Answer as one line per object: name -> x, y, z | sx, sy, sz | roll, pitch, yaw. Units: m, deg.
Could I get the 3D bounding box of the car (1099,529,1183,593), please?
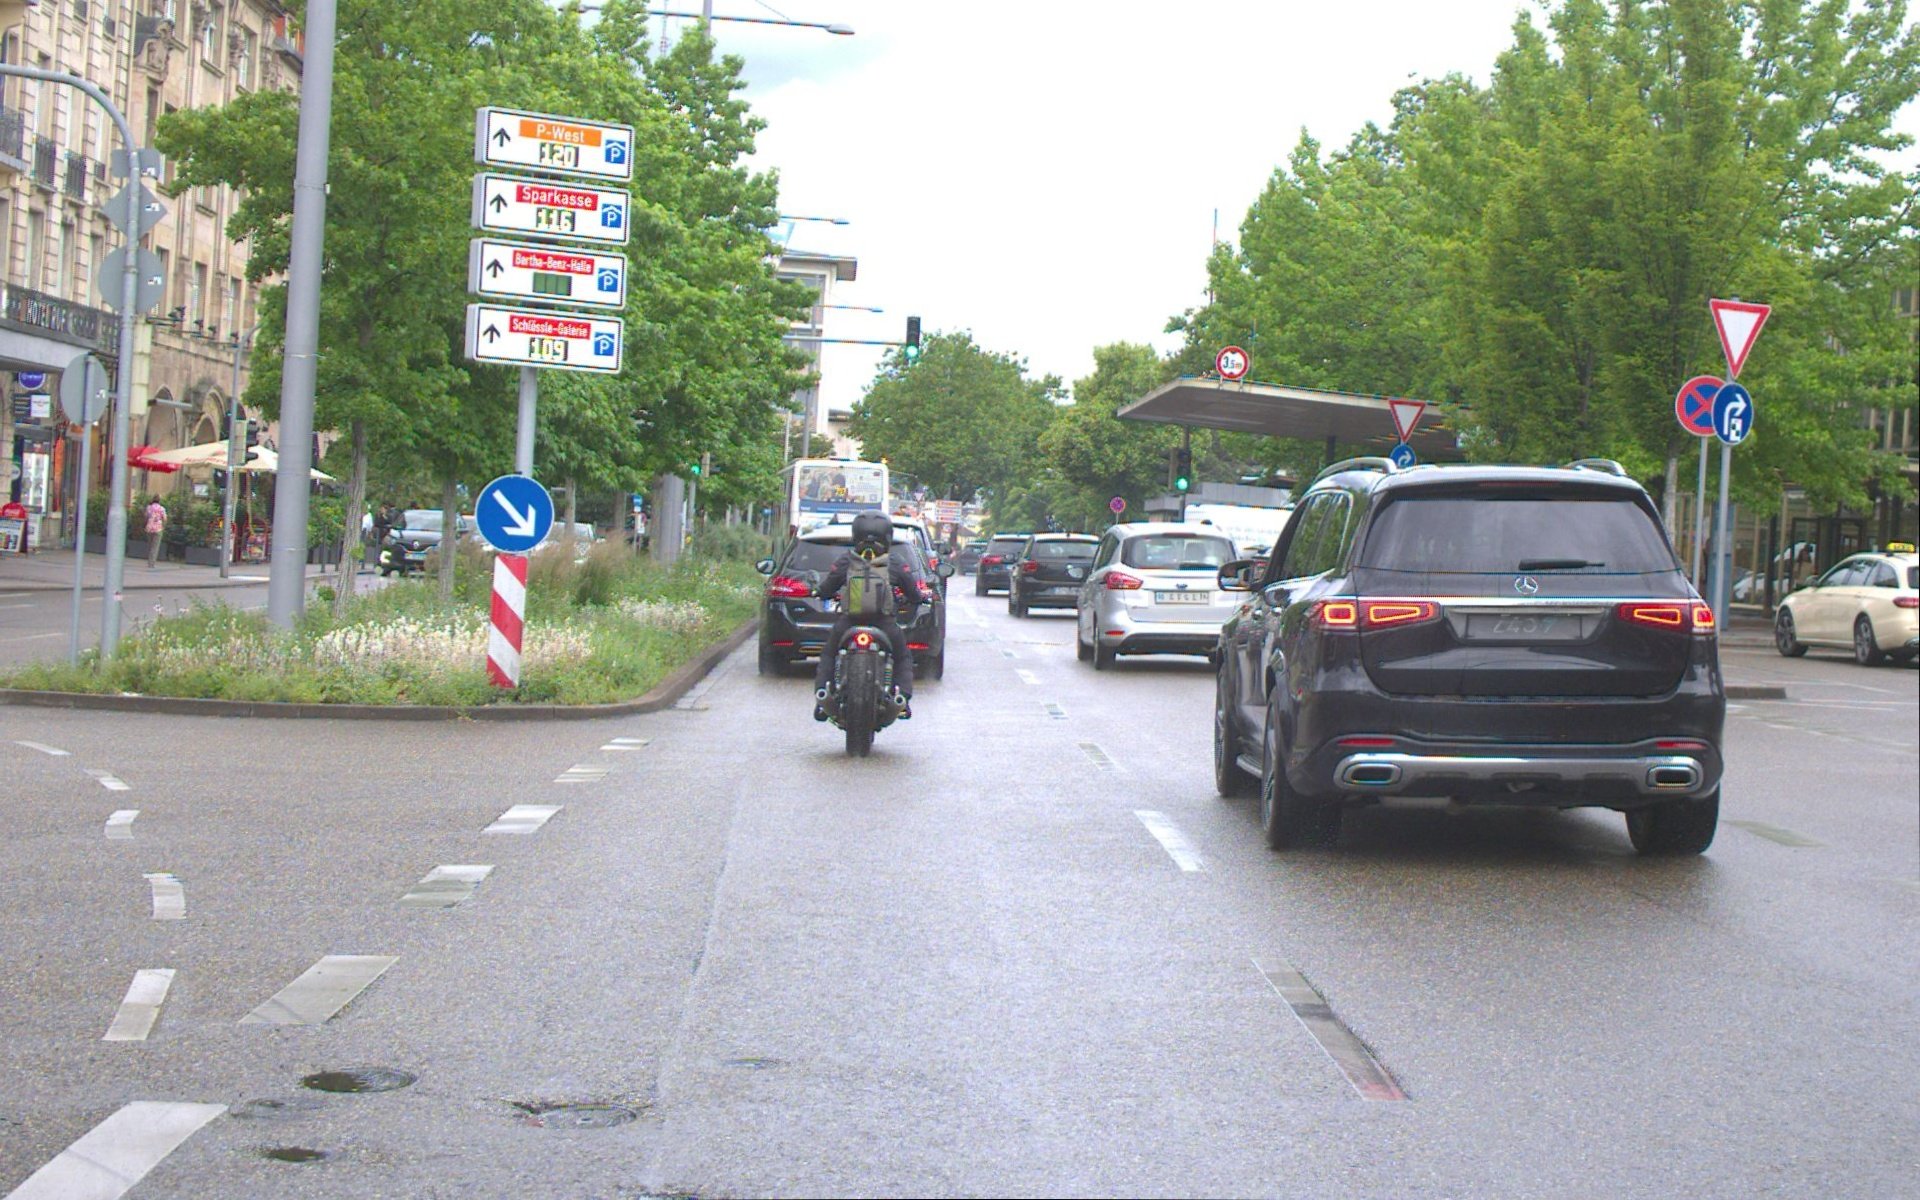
car -> 4.541, -1.003, 86.854 | 1.816, 1.525, 4.000 | 1, 1, -1

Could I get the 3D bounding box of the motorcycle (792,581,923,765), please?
motorcycle -> -0.636, 0.443, 22.101 | 0.766, 1.073, 2.175 | 2, 1, -1

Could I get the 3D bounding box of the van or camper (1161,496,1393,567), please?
van or camper -> 9.636, -2.064, 104.371 | 6.753, 2.007, 2.386 | 1, 1, -26

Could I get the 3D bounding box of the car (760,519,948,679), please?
car -> -1.003, -0.052, 33.748 | 1.708, 1.443, 4.000 | 1, 1, -1

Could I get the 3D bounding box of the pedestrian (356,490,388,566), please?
pedestrian -> -15.759, -1.929, 92.200 | 0.757, 2.007, 0.833 | 1, 1, -7

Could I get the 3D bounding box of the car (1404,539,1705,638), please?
car -> 9.040, -0.197, 52.540 | 1.775, 1.380, 4.366 | 0, 1, -41

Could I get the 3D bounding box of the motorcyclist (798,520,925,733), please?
motorcyclist -> -0.627, 0.161, 22.212 | 0.764, 1.327, 0.866 | 2, 1, 0

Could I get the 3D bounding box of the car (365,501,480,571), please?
car -> -12.294, -1.462, 78.796 | 1.771, 1.525, 4.078 | 1, 1, 3

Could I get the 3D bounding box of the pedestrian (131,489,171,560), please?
pedestrian -> -17.239, -1.613, 73.247 | 0.661, 1.505, 0.519 | 0, 1, -38

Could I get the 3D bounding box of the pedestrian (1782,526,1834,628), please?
pedestrian -> 16.937, -0.472, 68.677 | 0.769, 2.007, 0.828 | 1, 1, -3

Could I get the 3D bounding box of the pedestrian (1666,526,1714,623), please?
pedestrian -> 15.406, -0.542, 72.568 | 0.769, 2.007, 0.828 | 1, 1, -3

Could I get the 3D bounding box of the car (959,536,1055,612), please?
car -> 1.043, -0.613, 78.698 | 1.810, 1.637, 3.904 | 2, 1, -4

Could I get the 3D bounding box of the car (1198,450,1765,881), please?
car -> 2.382, 0.225, 16.979 | 1.993, 1.800, 4.690 | 1, 1, -1

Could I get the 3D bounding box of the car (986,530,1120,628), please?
car -> 1.560, -0.391, 58.836 | 1.810, 1.576, 3.904 | 2, 1, -5

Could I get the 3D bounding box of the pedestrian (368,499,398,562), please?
pedestrian -> -15.506, -1.870, 92.378 | 0.674, 1.696, 0.634 | 1, 1, -1

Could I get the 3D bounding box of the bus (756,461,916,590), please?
bus -> -3.581, -2.042, 94.469 | 3.760, 3.198, 15.529 | 1, 1, -4

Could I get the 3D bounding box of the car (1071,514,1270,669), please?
car -> 2.242, -0.130, 37.599 | 1.851, 1.561, 4.000 | 1, 1, -1

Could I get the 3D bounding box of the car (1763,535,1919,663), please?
car -> 12.541, -0.039, 45.766 | 1.993, 1.594, 4.824 | 1, 1, -8

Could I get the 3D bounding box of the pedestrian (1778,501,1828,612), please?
pedestrian -> 18.437, -0.959, 75.223 | 0.843, 2.403, 0.862 | 1, 1, 1

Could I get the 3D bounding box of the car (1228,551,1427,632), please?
car -> 8.947, -0.212, 83.744 | 4.335, 1.851, 2.001 | 1, 1, -20

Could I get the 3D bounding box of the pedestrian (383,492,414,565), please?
pedestrian -> -15.614, -2.000, 95.630 | 0.757, 2.007, 0.833 | 1, 1, -7
